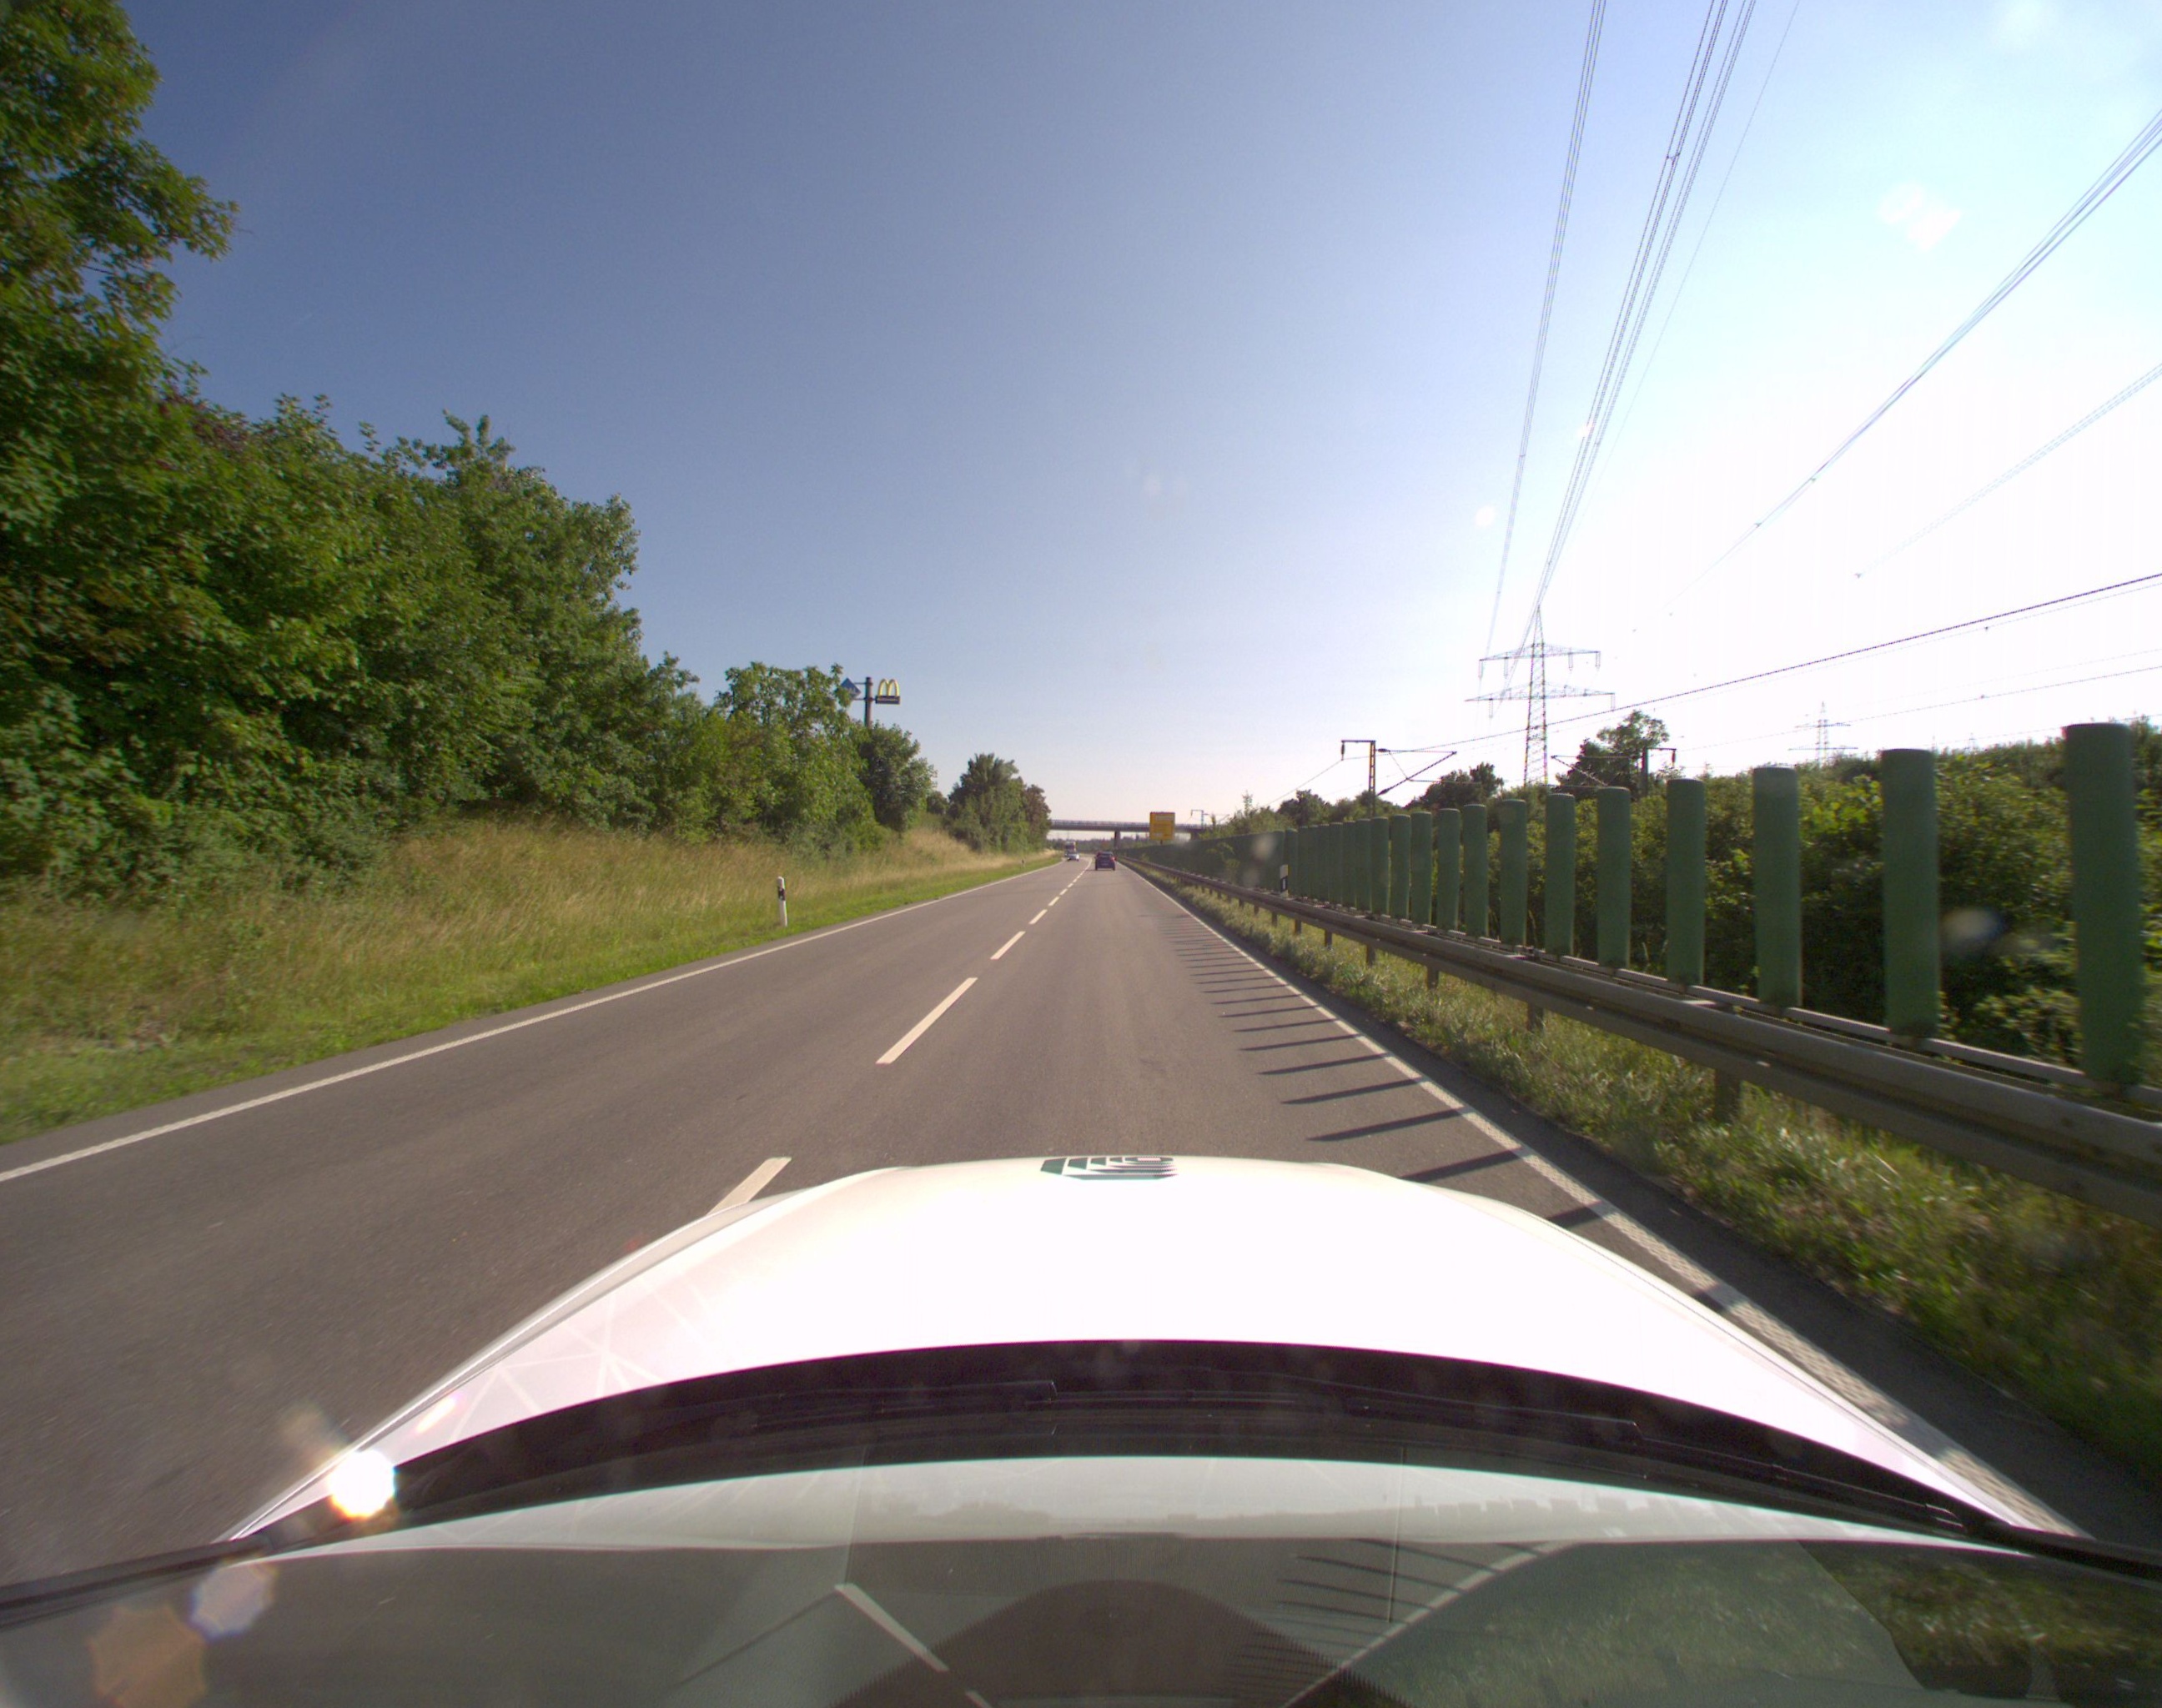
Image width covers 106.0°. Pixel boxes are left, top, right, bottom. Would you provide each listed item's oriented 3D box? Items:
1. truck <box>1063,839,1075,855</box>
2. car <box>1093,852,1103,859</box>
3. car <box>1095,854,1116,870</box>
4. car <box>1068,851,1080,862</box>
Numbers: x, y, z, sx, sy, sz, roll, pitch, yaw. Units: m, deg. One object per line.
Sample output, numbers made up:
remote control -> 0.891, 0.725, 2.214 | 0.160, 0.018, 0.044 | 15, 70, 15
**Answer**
truck -> -2.831, -1.659, 195.473 | 2.551, 3.688, 10.487 | 0, 0, 0
car -> 3.303, 0.261, 156.255 | 1.888, 1.418, 4.000 | 0, 0, 0
car -> 1.972, 0.642, 66.086 | 1.658, 1.261, 4.000 | 0, 0, 0
car -> -1.065, 0.418, 123.750 | 1.790, 1.593, 4.000 | 0, 0, 0
